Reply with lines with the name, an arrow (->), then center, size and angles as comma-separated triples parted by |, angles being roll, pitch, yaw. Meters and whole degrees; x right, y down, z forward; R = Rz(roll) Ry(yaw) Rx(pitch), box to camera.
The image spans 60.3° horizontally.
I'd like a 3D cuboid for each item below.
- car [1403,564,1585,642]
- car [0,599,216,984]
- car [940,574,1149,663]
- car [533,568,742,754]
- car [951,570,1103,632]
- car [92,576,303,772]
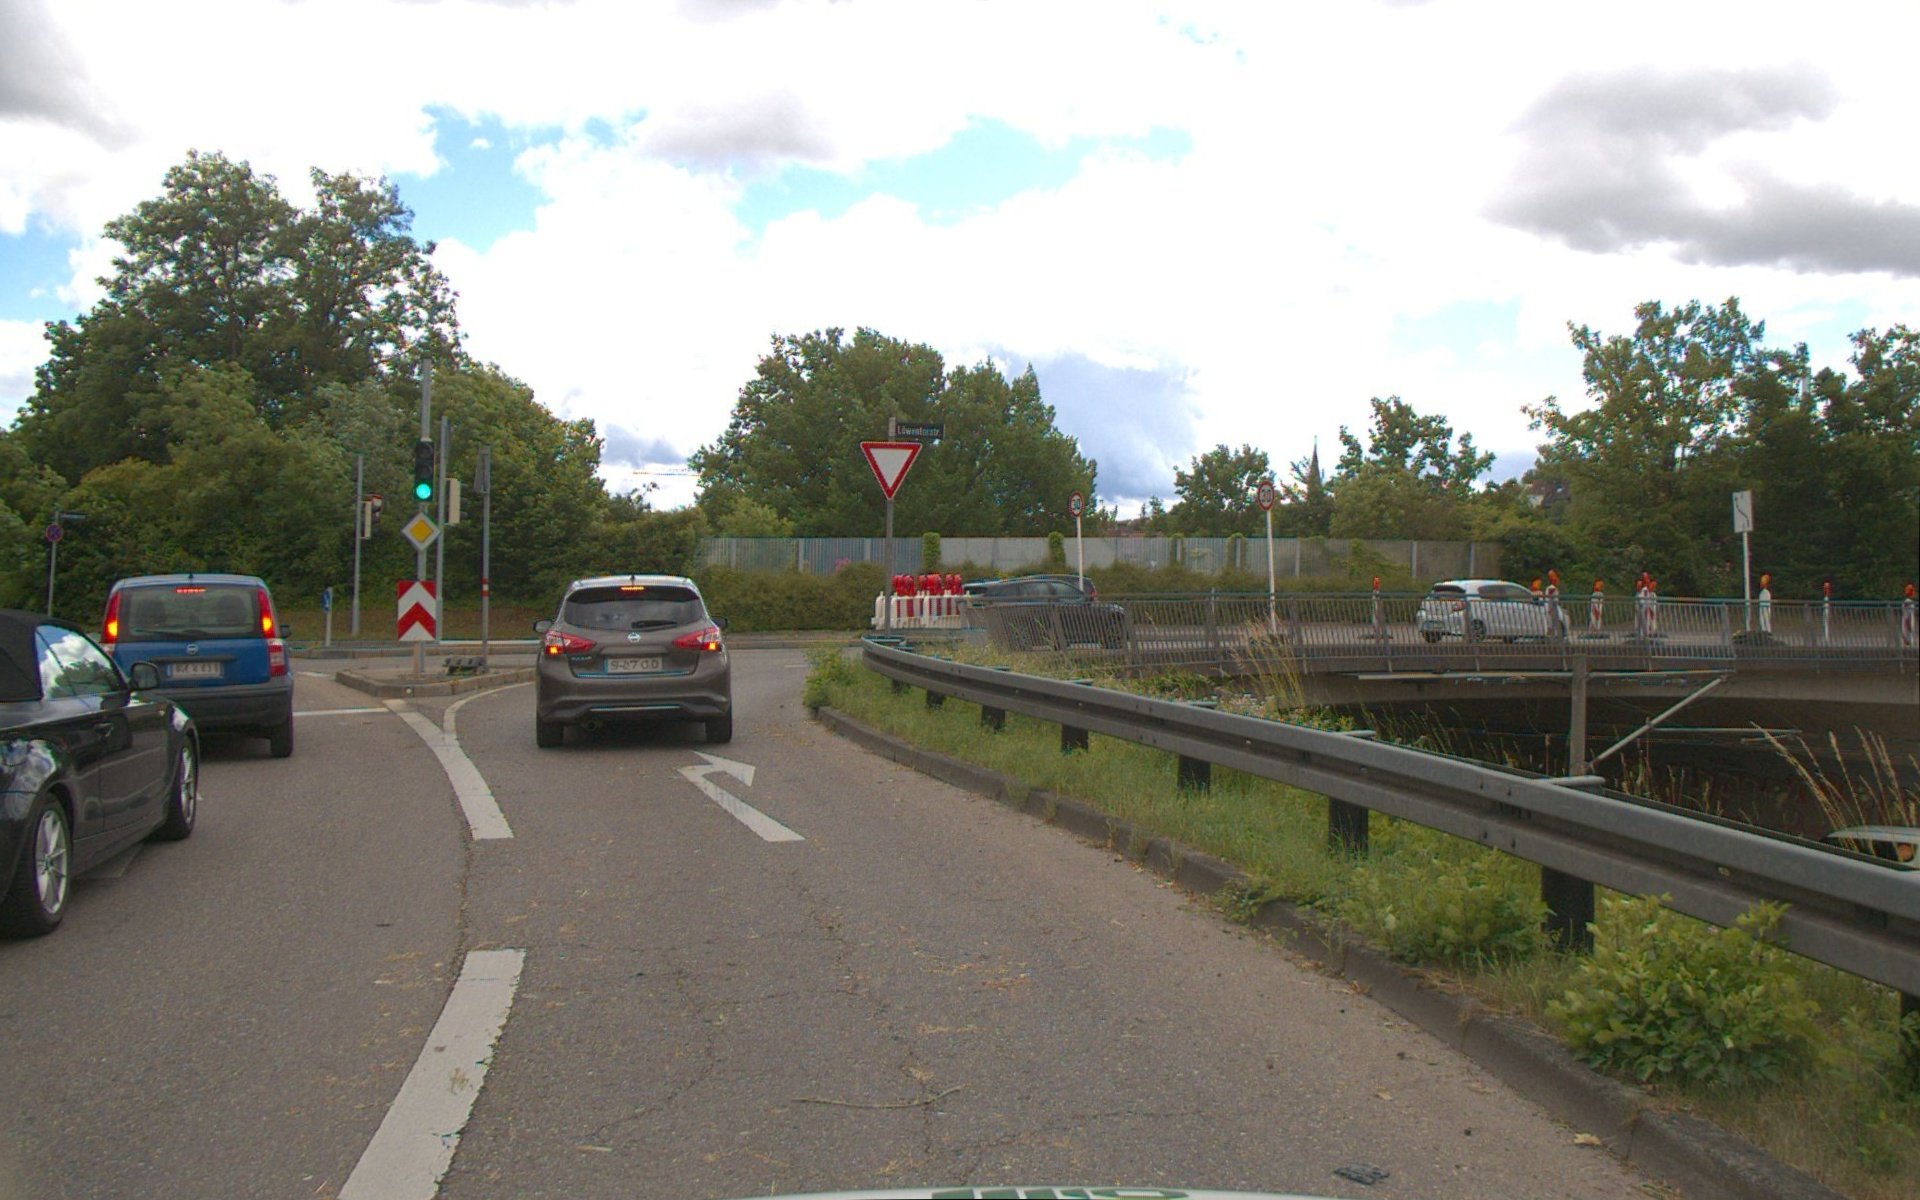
car -> 12.618, 0.079, 39.070 | 3.931, 1.704, 1.706 | 2, -1, -22
car -> -4.877, 0.745, 8.110 | 1.537, 1.392, 4.068 | -1, 1, -14
car -> 1.686, 0.369, 32.836 | 3.736, 1.579, 1.807 | 3, 0, -30
car -> -3.209, 0.500, 16.189 | 1.767, 1.579, 3.987 | 0, 0, -13
car -> 1.783, 0.051, 44.202 | 3.719, 1.579, 1.634 | 0, -2, -19
car -> -6.808, 0.555, 14.822 | 1.523, 1.533, 3.354 | -1, 1, -25
